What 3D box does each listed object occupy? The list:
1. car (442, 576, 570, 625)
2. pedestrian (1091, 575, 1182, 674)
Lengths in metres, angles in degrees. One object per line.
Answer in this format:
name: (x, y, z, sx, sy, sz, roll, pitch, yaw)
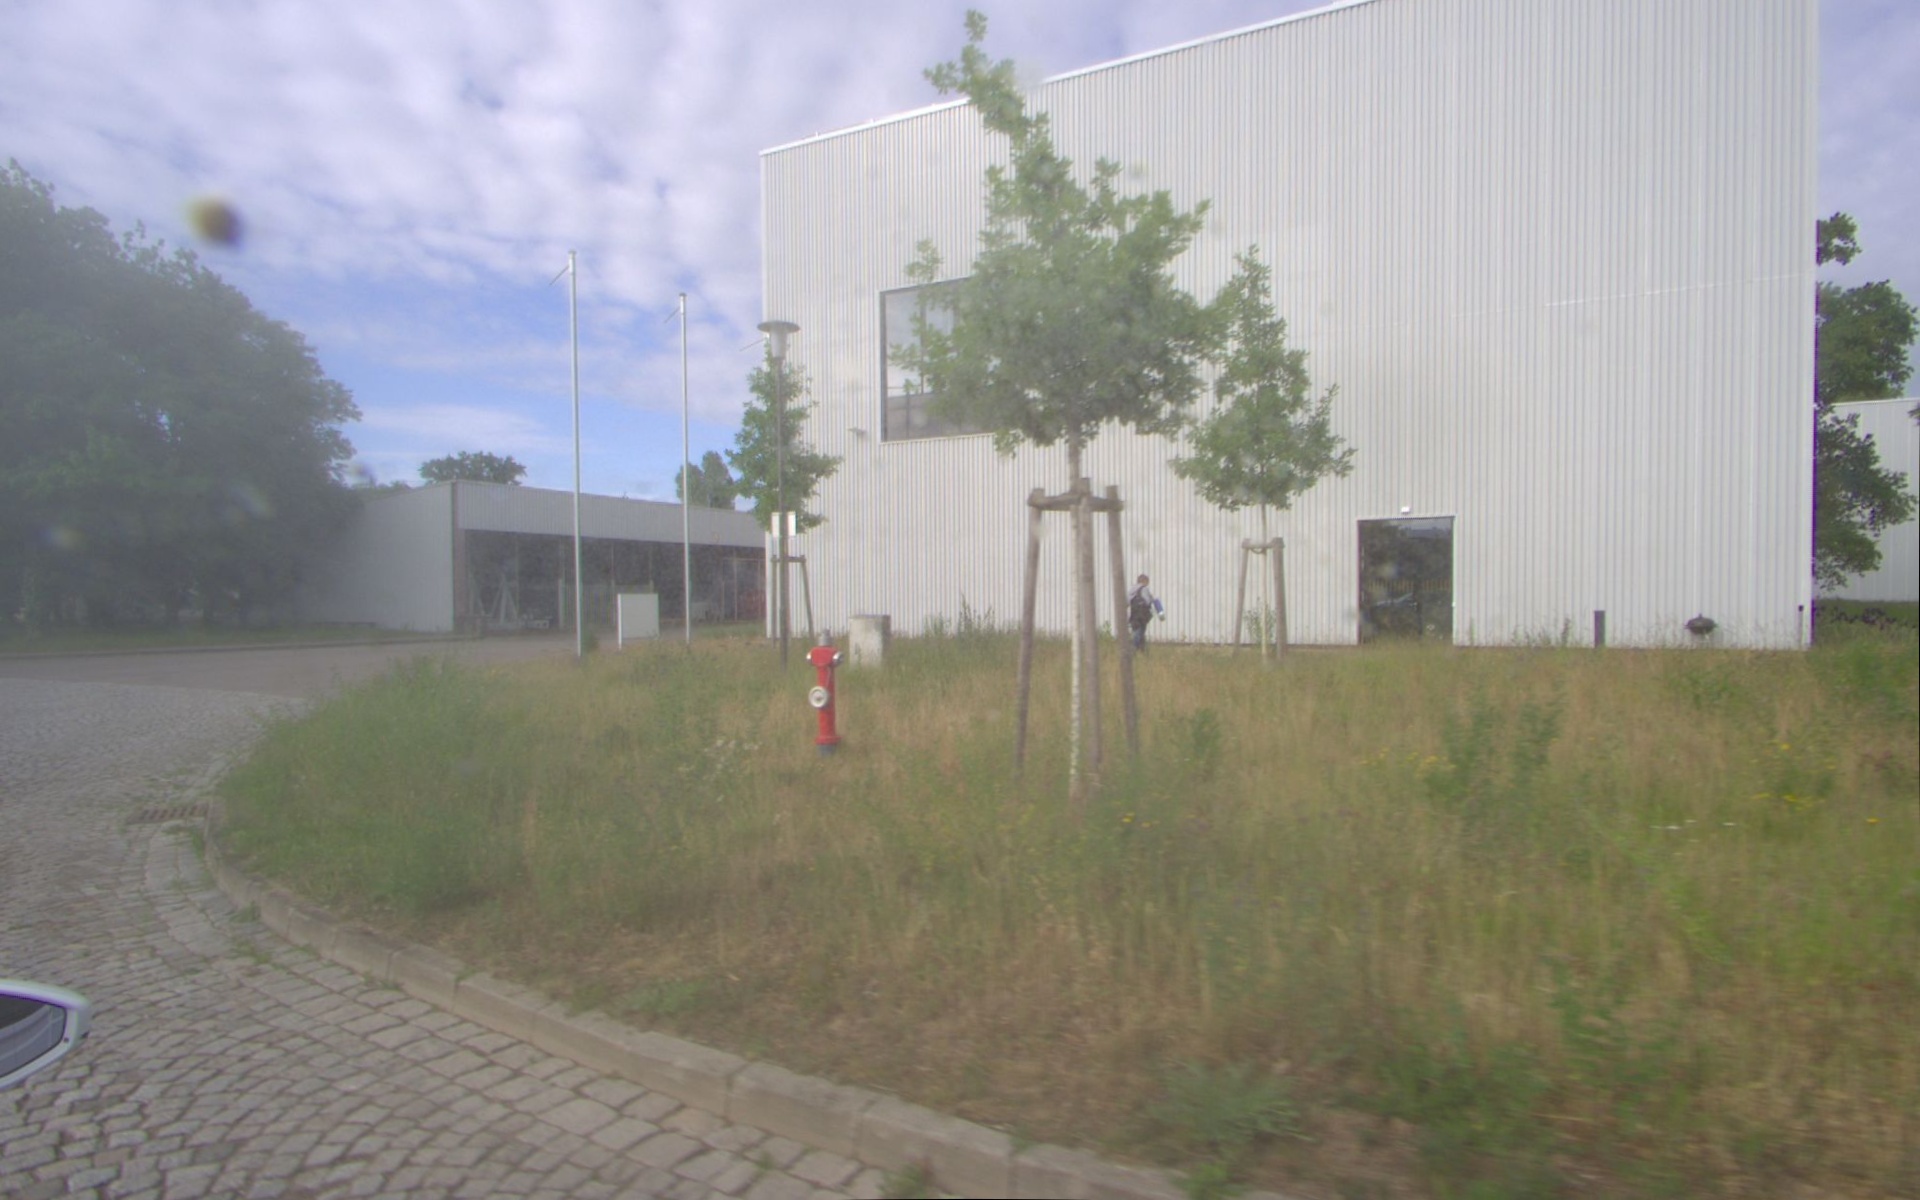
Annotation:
car: (-19.767, 0.014, 43.583, 5.250, 2.041, 2.240, 0, 1, 26)
pedestrian: (2.938, 0.391, 16.708, 1.066, 1.577, 1.066, -1, 1, -39)
